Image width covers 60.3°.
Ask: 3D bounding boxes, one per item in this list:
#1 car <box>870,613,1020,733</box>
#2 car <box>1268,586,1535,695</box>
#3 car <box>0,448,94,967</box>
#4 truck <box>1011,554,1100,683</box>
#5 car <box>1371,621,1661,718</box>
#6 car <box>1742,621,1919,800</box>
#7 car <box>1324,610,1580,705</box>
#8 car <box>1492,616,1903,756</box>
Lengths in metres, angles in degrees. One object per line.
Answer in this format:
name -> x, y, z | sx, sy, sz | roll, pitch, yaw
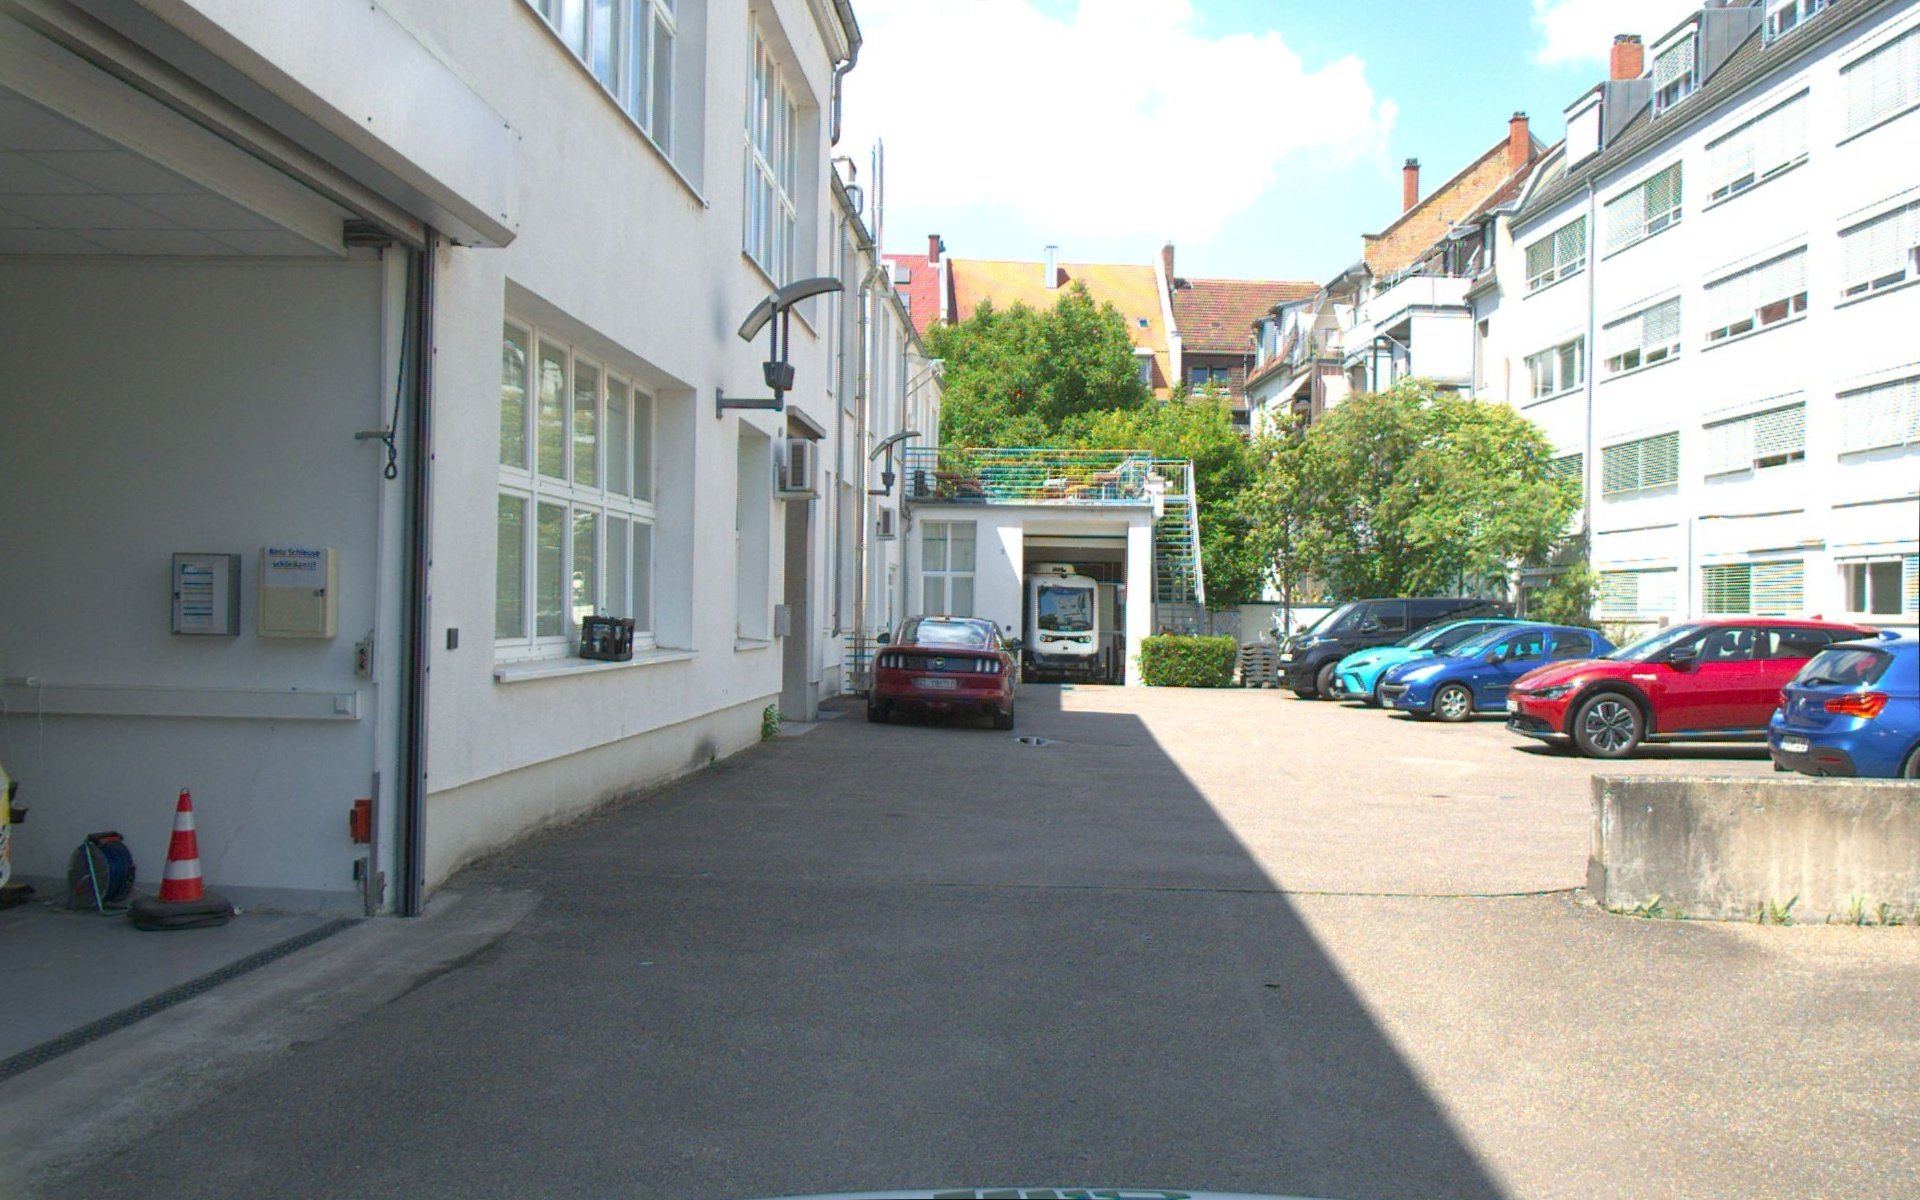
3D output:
car -> -0.110, 0.900, 22.024 | 1.761, 1.414, 4.001 | 1, 0, 2
car -> 8.333, 0.754, 31.562 | 4.580, 1.992, 2.077 | 0, 0, 1
car -> -6.016, 0.369, 6.274 | 4.385, 2.060, 1.981 | 2, 0, 4
truck -> 2.300, 0.452, 40.955 | 1.752, 2.988, 4.651 | 1, -1, -2
car -> 8.496, 1.041, 25.518 | 3.904, 1.414, 1.805 | 0, 0, 1
car -> 9.014, 0.895, 14.038 | 3.904, 1.414, 1.805 | 0, 0, 1
car -> 8.409, 0.966, 28.509 | 3.904, 1.561, 1.805 | 0, 0, 1
car -> 8.297, 0.942, 18.876 | 3.904, 1.504, 1.805 | 0, 0, 1
